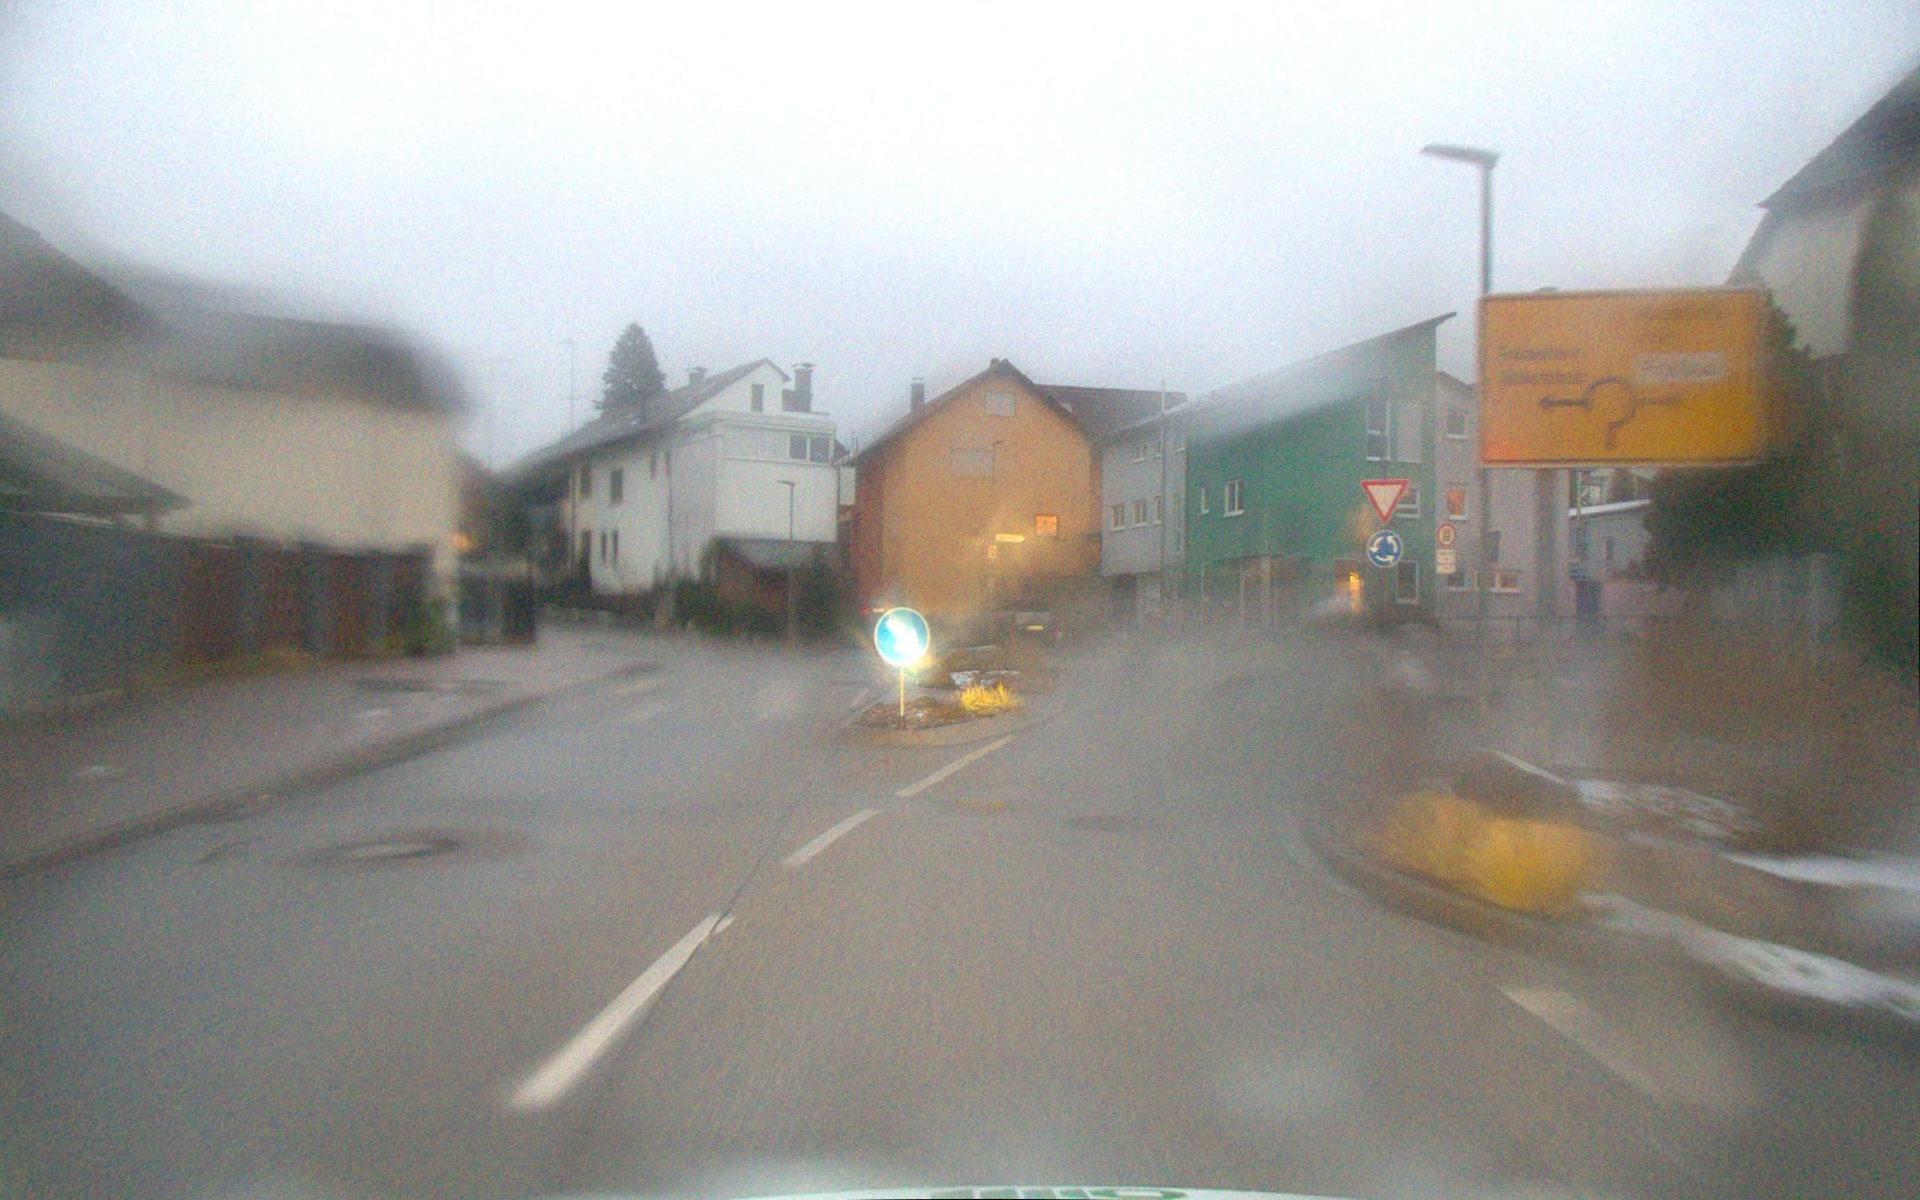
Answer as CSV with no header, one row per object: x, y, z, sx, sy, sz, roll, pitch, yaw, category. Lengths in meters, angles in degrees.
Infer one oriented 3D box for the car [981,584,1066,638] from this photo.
2.035,0.329,54.243,1.957,1.673,3.991,1,1,-10,car

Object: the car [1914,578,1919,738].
11.702,0.555,15.542,1.787,1.657,4.514,-2,1,-25,car

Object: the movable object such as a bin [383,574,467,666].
-9.315,0.334,28.838,1.074,1.570,1.288,0,0,-2,movable object such as a bin

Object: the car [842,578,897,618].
-4.029,-0.103,73.388,1.957,1.673,3.991,1,1,-10,car
